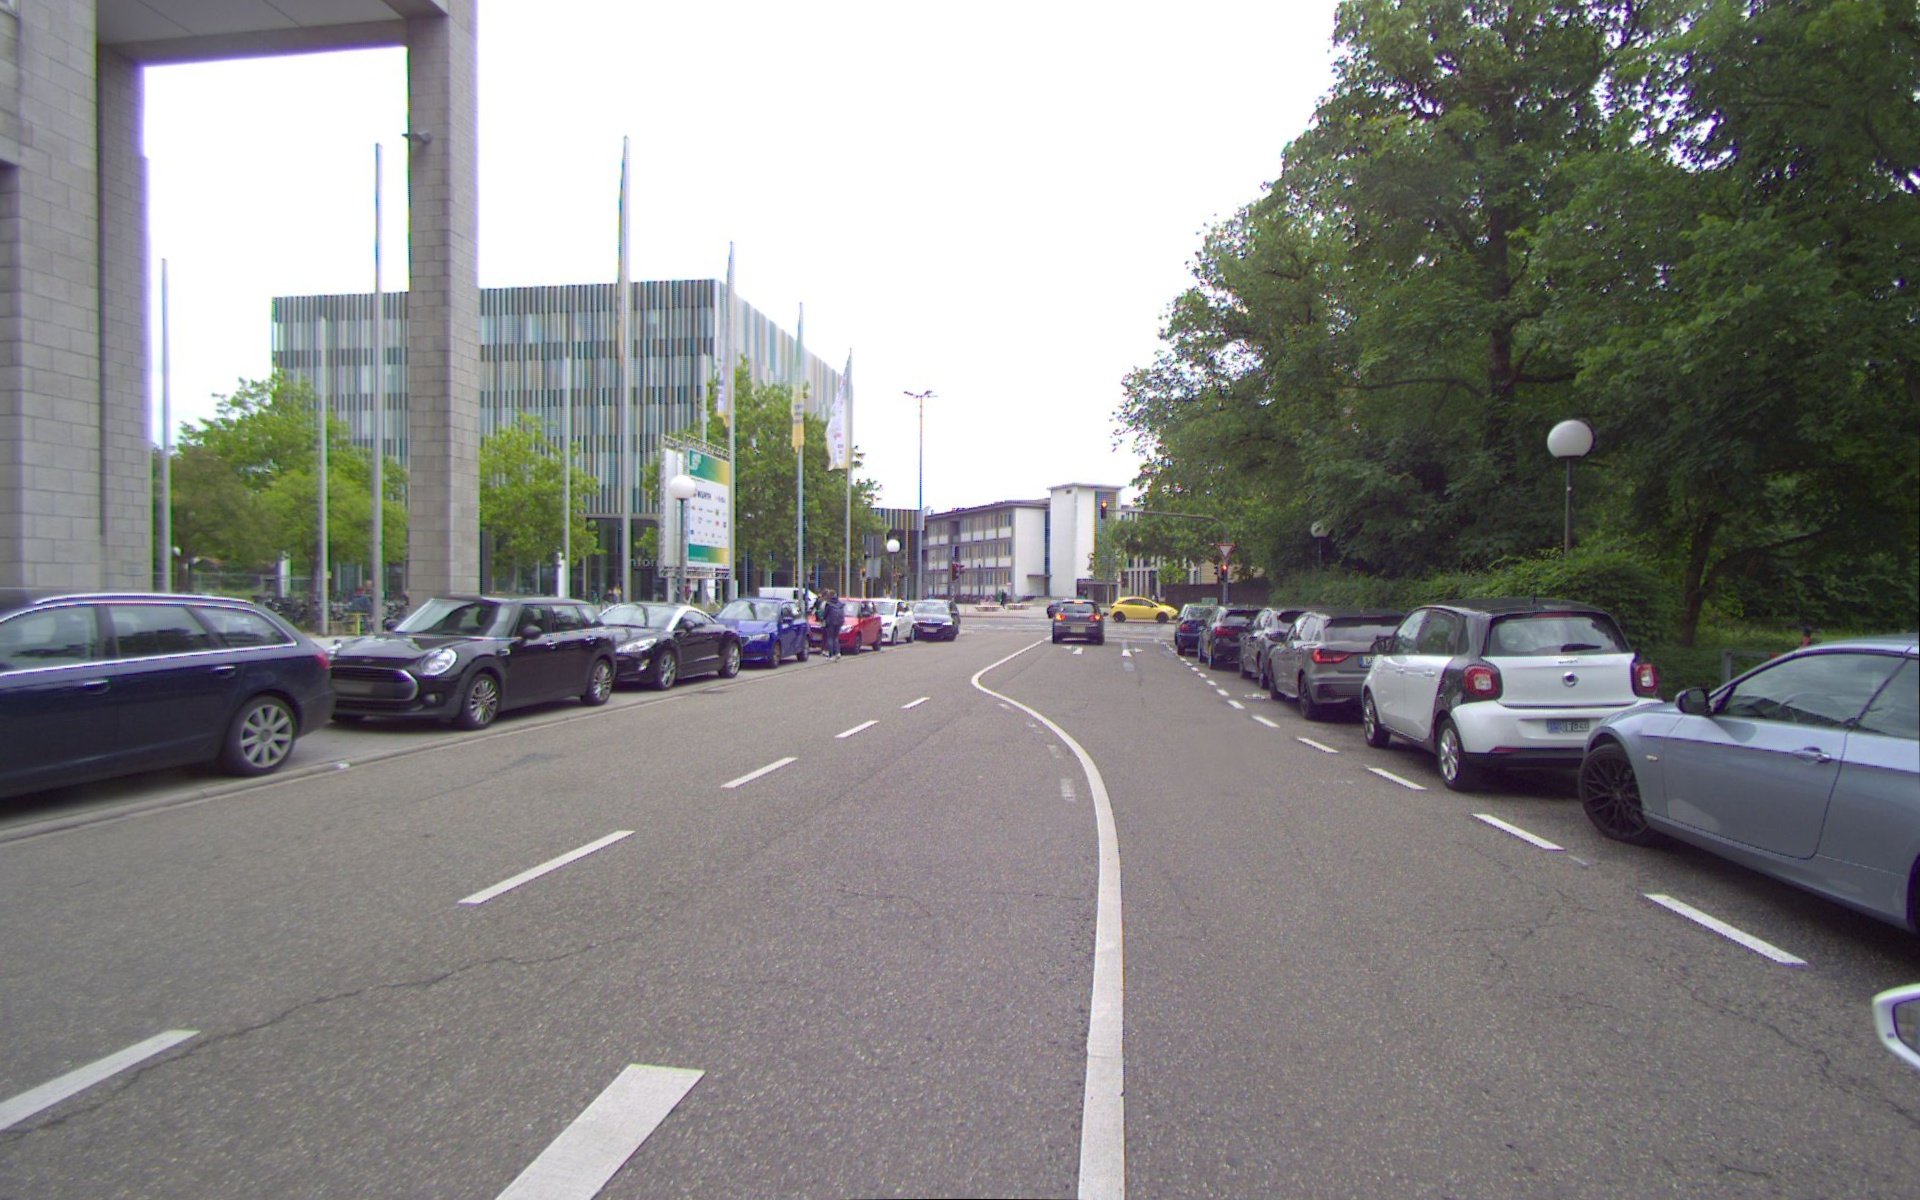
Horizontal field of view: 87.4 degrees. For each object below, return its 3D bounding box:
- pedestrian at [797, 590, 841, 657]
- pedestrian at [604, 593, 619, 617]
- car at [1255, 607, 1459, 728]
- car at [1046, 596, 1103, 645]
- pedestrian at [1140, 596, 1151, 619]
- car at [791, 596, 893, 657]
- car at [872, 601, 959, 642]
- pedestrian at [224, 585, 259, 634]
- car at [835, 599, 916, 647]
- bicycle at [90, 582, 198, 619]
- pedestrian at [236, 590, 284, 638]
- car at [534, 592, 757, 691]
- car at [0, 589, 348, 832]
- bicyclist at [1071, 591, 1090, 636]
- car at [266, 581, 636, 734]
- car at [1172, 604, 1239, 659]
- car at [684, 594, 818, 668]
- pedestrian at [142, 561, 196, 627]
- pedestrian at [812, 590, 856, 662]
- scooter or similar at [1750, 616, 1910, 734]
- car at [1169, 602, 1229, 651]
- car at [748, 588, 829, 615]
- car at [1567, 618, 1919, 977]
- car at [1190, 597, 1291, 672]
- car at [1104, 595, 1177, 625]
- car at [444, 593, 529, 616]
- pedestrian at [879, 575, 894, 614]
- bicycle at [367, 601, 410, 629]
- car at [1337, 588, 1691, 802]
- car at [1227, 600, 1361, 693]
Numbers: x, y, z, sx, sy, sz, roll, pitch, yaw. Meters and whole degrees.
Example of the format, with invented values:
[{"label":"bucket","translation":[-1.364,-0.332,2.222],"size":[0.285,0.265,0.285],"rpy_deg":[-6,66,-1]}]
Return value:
[{"label":"pedestrian","translation":[-3.554,0.600,25.423],"size":[0.912,1.662,0.737],"rpy_deg":[0,-2,10]},{"label":"pedestrian","translation":[-30.808,0.427,88.794],"size":[0.981,2.040,0.856],"rpy_deg":[-1,-2,17]},{"label":"car","translation":[5.398,0.824,14.195],"size":[1.733,1.430,4.011],"rpy_deg":[1,0,7]},{"label":"car","translation":[4.007,0.659,34.750],"size":[1.752,1.517,4.170],"rpy_deg":[1,1,9]},{"label":"pedestrian","translation":[14.055,0.560,76.049],"size":[0.613,1.688,0.617],"rpy_deg":[0,0,-40]},{"label":"car","translation":[-3.188,0.678,27.976],"size":[1.683,1.493,4.276],"rpy_deg":[3,0,9]},{"label":"car","translation":[-1.752,0.775,38.055],"size":[1.840,1.420,4.453],"rpy_deg":[0,0,-23]},{"label":"pedestrian","translation":[-21.473,0.279,30.029],"size":[0.664,1.432,0.765],"rpy_deg":[0,1,-22]},{"label":"car","translation":[-2.734,0.713,33.361],"size":[1.828,1.472,3.861],"rpy_deg":[1,0,9]},{"label":"bicycle","translation":[-27.466,0.015,33.903],"size":[0.732,1.185,3.109],"rpy_deg":[1,0,11]},{"label":"pedestrian","translation":[-21.620,0.421,31.044],"size":[0.836,1.440,0.968],"rpy_deg":[1,1,-2]},{"label":"car","translation":[-5.188,0.663,17.282],"size":[1.816,1.461,4.422],"rpy_deg":[0,-1,10]},{"label":"car","translation":[-6.803,0.675,6.671],"size":[1.959,1.471,4.925],"rpy_deg":[1,1,9]},{"label":"bicyclist","translation":[4.946,0.535,41.213],"size":[0.646,1.803,0.984],"rpy_deg":[1,1,2]},{"label":"car","translation":[-5.922,0.572,12.443],"size":[1.787,1.462,4.523],"rpy_deg":[2,0,8]},{"label":"car","translation":[7.174,0.858,29.590],"size":[1.767,1.427,4.338],"rpy_deg":[1,1,13]},{"label":"car","translation":[-4.524,0.602,22.424],"size":[1.666,1.430,4.378],"rpy_deg":[1,1,6]},{"label":"pedestrian","translation":[-21.285,-0.154,27.044],"size":[0.839,1.727,0.964],"rpy_deg":[1,1,-19]},{"label":"pedestrian","translation":[-3.018,0.616,24.149],"size":[0.726,1.684,0.968],"rpy_deg":[2,0,11]},{"label":"scooter or similar","translation":[9.700,0.800,11.233],"size":[0.447,1.226,1.291],"rpy_deg":[0,0,-40]},{"label":"car","translation":[8.167,0.865,34.576],"size":[1.767,1.489,4.250],"rpy_deg":[1,1,11]},{"label":"car","translation":[-10.889,0.093,64.006],"size":[4.742,1.685,2.001],"rpy_deg":[0,0,7]},{"label":"car","translation":[4.885,0.831,4.819],"size":[1.787,1.407,4.196],"rpy_deg":[0,0,6]},{"label":"car","translation":[6.594,0.767,24.001],"size":[1.767,1.582,4.533],"rpy_deg":[1,0,9]},{"label":"car","translation":[10.543,0.564,58.518],"size":[4.109,1.639,2.001],"rpy_deg":[1,0,13]},{"label":"car","translation":[-31.539,0.294,66.974],"size":[4.742,1.461,2.001],"rpy_deg":[0,0,7]},{"label":"pedestrian","translation":[-3.330,-0.246,45.435],"size":[0.645,1.738,0.585],"rpy_deg":[0,0,-7]},{"label":"bicycle","translation":[-22.900,0.598,40.276],"size":[0.448,1.063,1.936],"rpy_deg":[1,0,5]},{"label":"car","translation":[4.911,0.725,9.555],"size":[1.686,1.607,3.880],"rpy_deg":[0,0,8]},{"label":"car","translation":[6.093,0.775,18.756],"size":[1.731,1.491,3.826],"rpy_deg":[1,1,9]}]
